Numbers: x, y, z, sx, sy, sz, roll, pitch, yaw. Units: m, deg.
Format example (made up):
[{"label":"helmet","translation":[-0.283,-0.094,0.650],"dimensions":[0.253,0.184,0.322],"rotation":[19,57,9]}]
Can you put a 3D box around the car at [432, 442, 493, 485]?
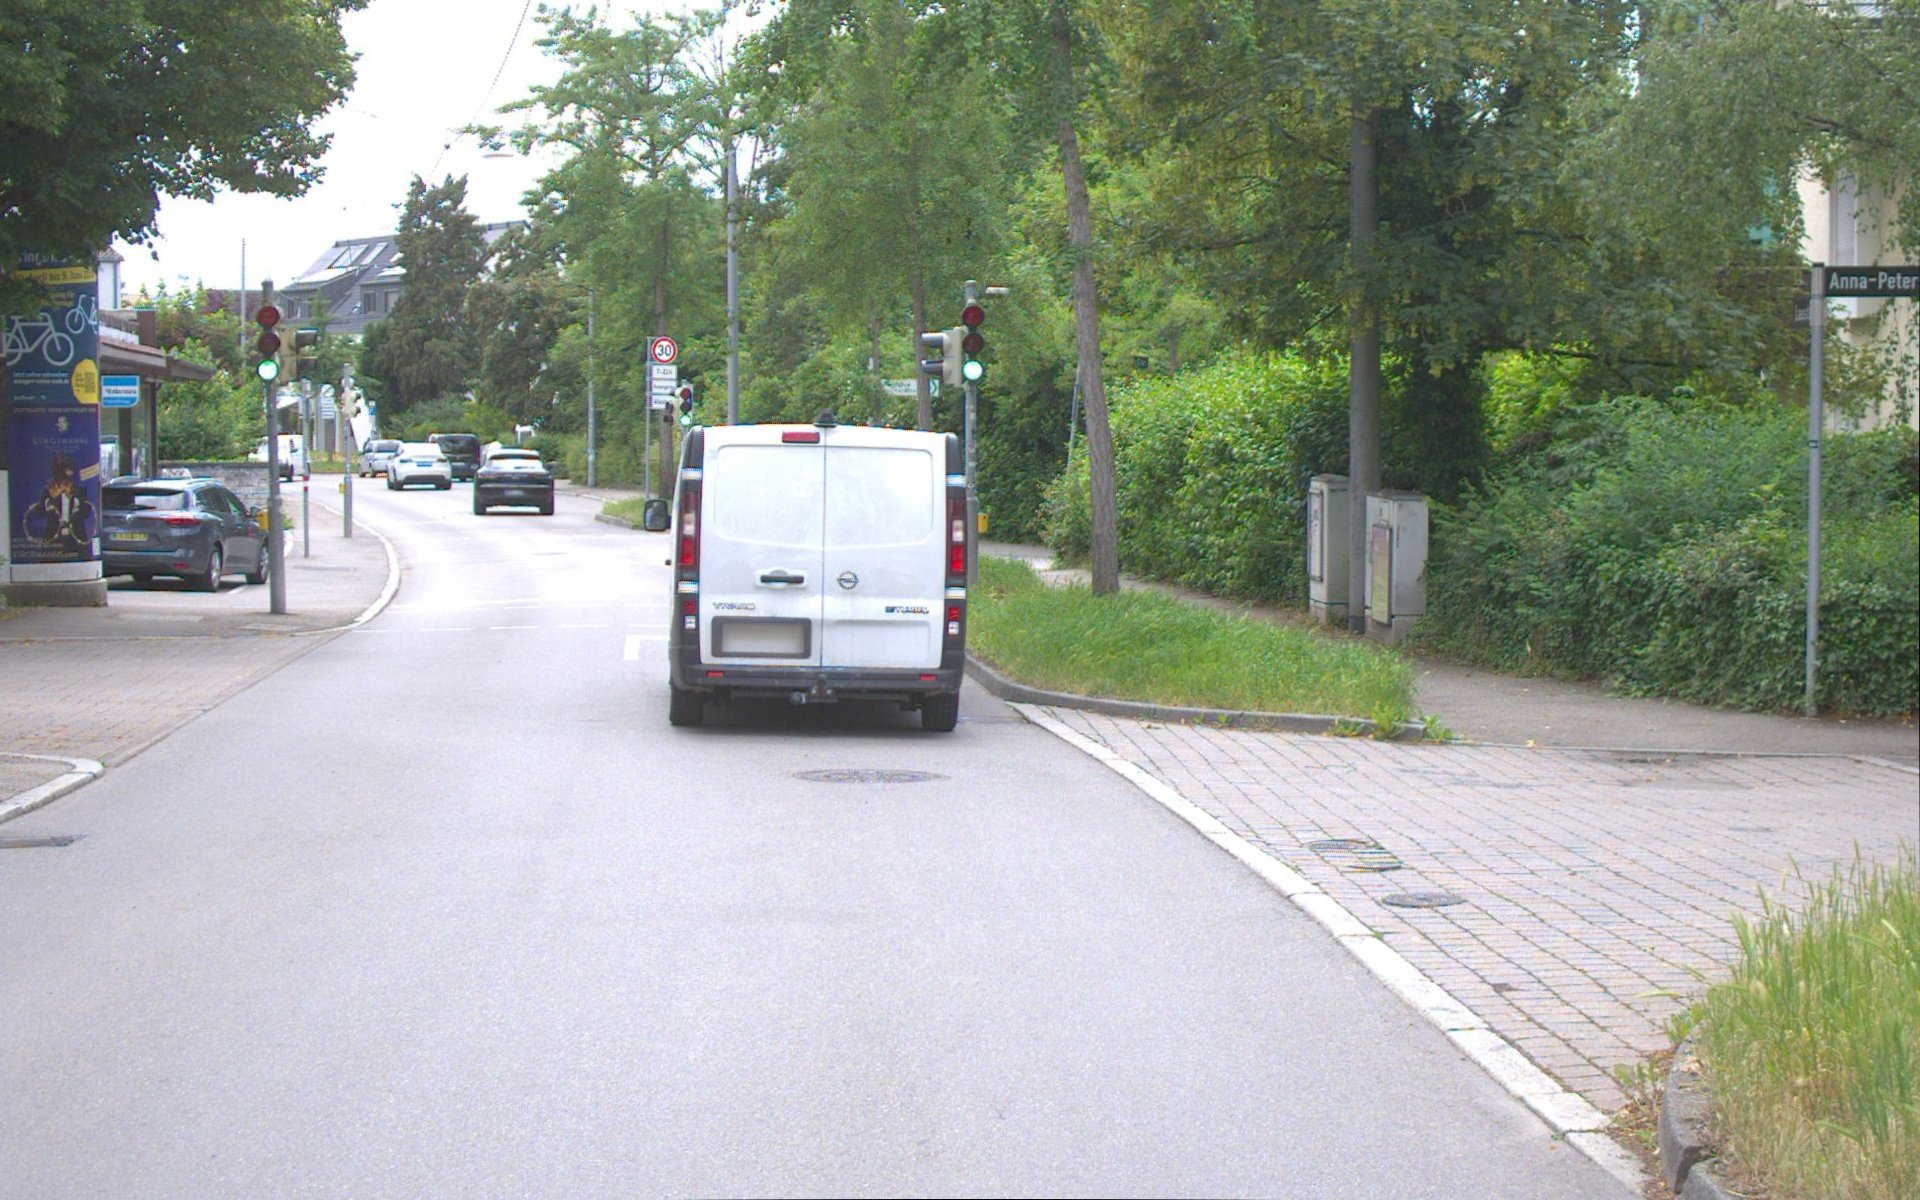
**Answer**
[{"label":"car","translation":[-19.258,-5.283,133.043],"dimensions":[1.893,1.605,4.502],"rotation":[0,2,-14]}]

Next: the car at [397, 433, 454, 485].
[{"label":"car","translation":[-18.546,-4.883,119.156],"dimensions":[1.824,1.722,4.002],"rotation":[0,2,-10]}]

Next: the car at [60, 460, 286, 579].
[{"label":"car","translation":[-10.342,-1.070,45.481],"dimensions":[1.779,1.436,4.525],"rotation":[2,2,2]}]

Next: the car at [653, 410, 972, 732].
[{"label":"car","translation":[-1.099,-0.259,23.251],"dimensions":[1.929,1.957,4.403],"rotation":[1,2,-5]}]

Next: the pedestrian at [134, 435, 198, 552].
[{"label":"pedestrian","translation":[-12.120,-1.627,52.494],"dimensions":[0.882,1.744,0.964],"rotation":[2,2,-12]}]

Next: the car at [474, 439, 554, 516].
[{"label":"car","translation":[-11.088,-3.045,85.311],"dimensions":[1.896,1.853,4.406],"rotation":[0,2,-8]}]
